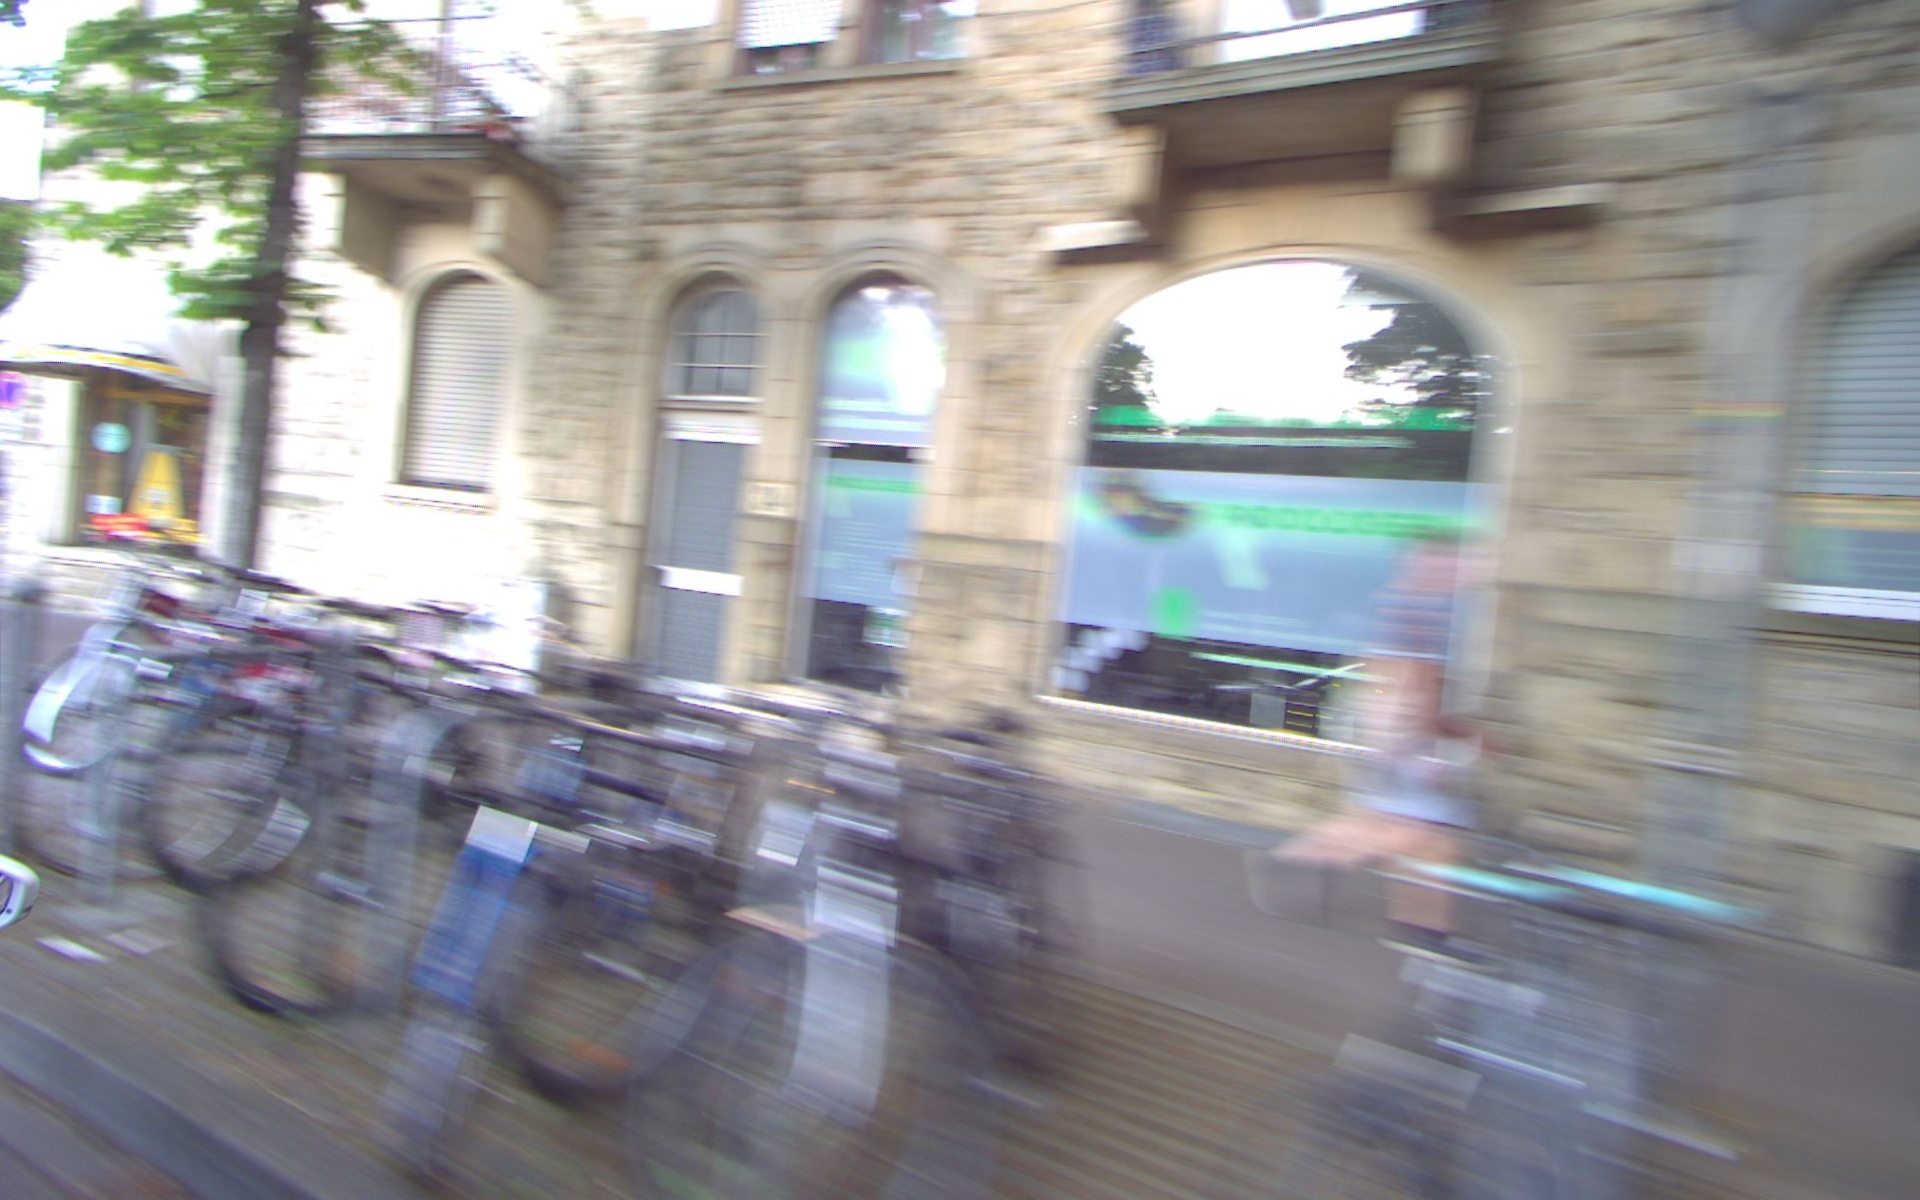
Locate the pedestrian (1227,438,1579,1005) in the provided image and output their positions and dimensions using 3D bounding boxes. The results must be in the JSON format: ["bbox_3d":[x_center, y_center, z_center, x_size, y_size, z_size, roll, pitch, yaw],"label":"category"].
[{"bbox_3d":[1.980,0.443,4.460,1.043,2.113,1.011,8,3,33],"label":"pedestrian"}]

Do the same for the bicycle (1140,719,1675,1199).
[{"bbox_3d":[0.995,0.885,2.059,0.479,1.143,1.668,15,6,37],"label":"bicycle"}]

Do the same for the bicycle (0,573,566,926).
[{"bbox_3d":[-2.581,0.500,4.129,0.687,1.051,1.806,7,1,20],"label":"bicycle"}]

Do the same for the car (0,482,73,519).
[{"bbox_3d":[-46.397,-4.959,49.852,1.920,1.501,4.154,6,0,-16],"label":"car"}]

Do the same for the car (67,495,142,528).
[{"bbox_3d":[-49.581,-5.121,58.411,1.924,1.501,4.297,6,0,-22],"label":"car"}]

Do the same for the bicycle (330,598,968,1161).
[{"bbox_3d":[-0.776,0.663,3.161,0.630,1.177,1.887,7,1,30],"label":"bicycle"}]

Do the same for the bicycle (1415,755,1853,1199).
[{"bbox_3d":[1.439,0.969,2.179,0.479,1.092,1.669,7,1,36],"label":"bicycle"}]

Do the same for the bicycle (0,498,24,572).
[{"bbox_3d":[-15.909,-1.108,15.600,0.720,1.144,1.872,7,1,35],"label":"bicycle"}]

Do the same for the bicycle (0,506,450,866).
[{"bbox_3d":[-3.330,0.312,4.501,0.687,1.252,1.792,7,1,20],"label":"bicycle"}]

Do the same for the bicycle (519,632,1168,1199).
[{"bbox_3d":[-0.125,0.741,2.799,0.693,1.177,1.887,7,1,30],"label":"bicycle"}]

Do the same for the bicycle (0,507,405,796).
[{"bbox_3d":[-4.043,0.245,5.421,0.639,1.252,1.792,7,1,19],"label":"bicycle"}]

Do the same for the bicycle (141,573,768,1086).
[{"bbox_3d":[-1.471,0.584,3.400,0.628,1.177,1.891,7,1,20],"label":"bicycle"}]
